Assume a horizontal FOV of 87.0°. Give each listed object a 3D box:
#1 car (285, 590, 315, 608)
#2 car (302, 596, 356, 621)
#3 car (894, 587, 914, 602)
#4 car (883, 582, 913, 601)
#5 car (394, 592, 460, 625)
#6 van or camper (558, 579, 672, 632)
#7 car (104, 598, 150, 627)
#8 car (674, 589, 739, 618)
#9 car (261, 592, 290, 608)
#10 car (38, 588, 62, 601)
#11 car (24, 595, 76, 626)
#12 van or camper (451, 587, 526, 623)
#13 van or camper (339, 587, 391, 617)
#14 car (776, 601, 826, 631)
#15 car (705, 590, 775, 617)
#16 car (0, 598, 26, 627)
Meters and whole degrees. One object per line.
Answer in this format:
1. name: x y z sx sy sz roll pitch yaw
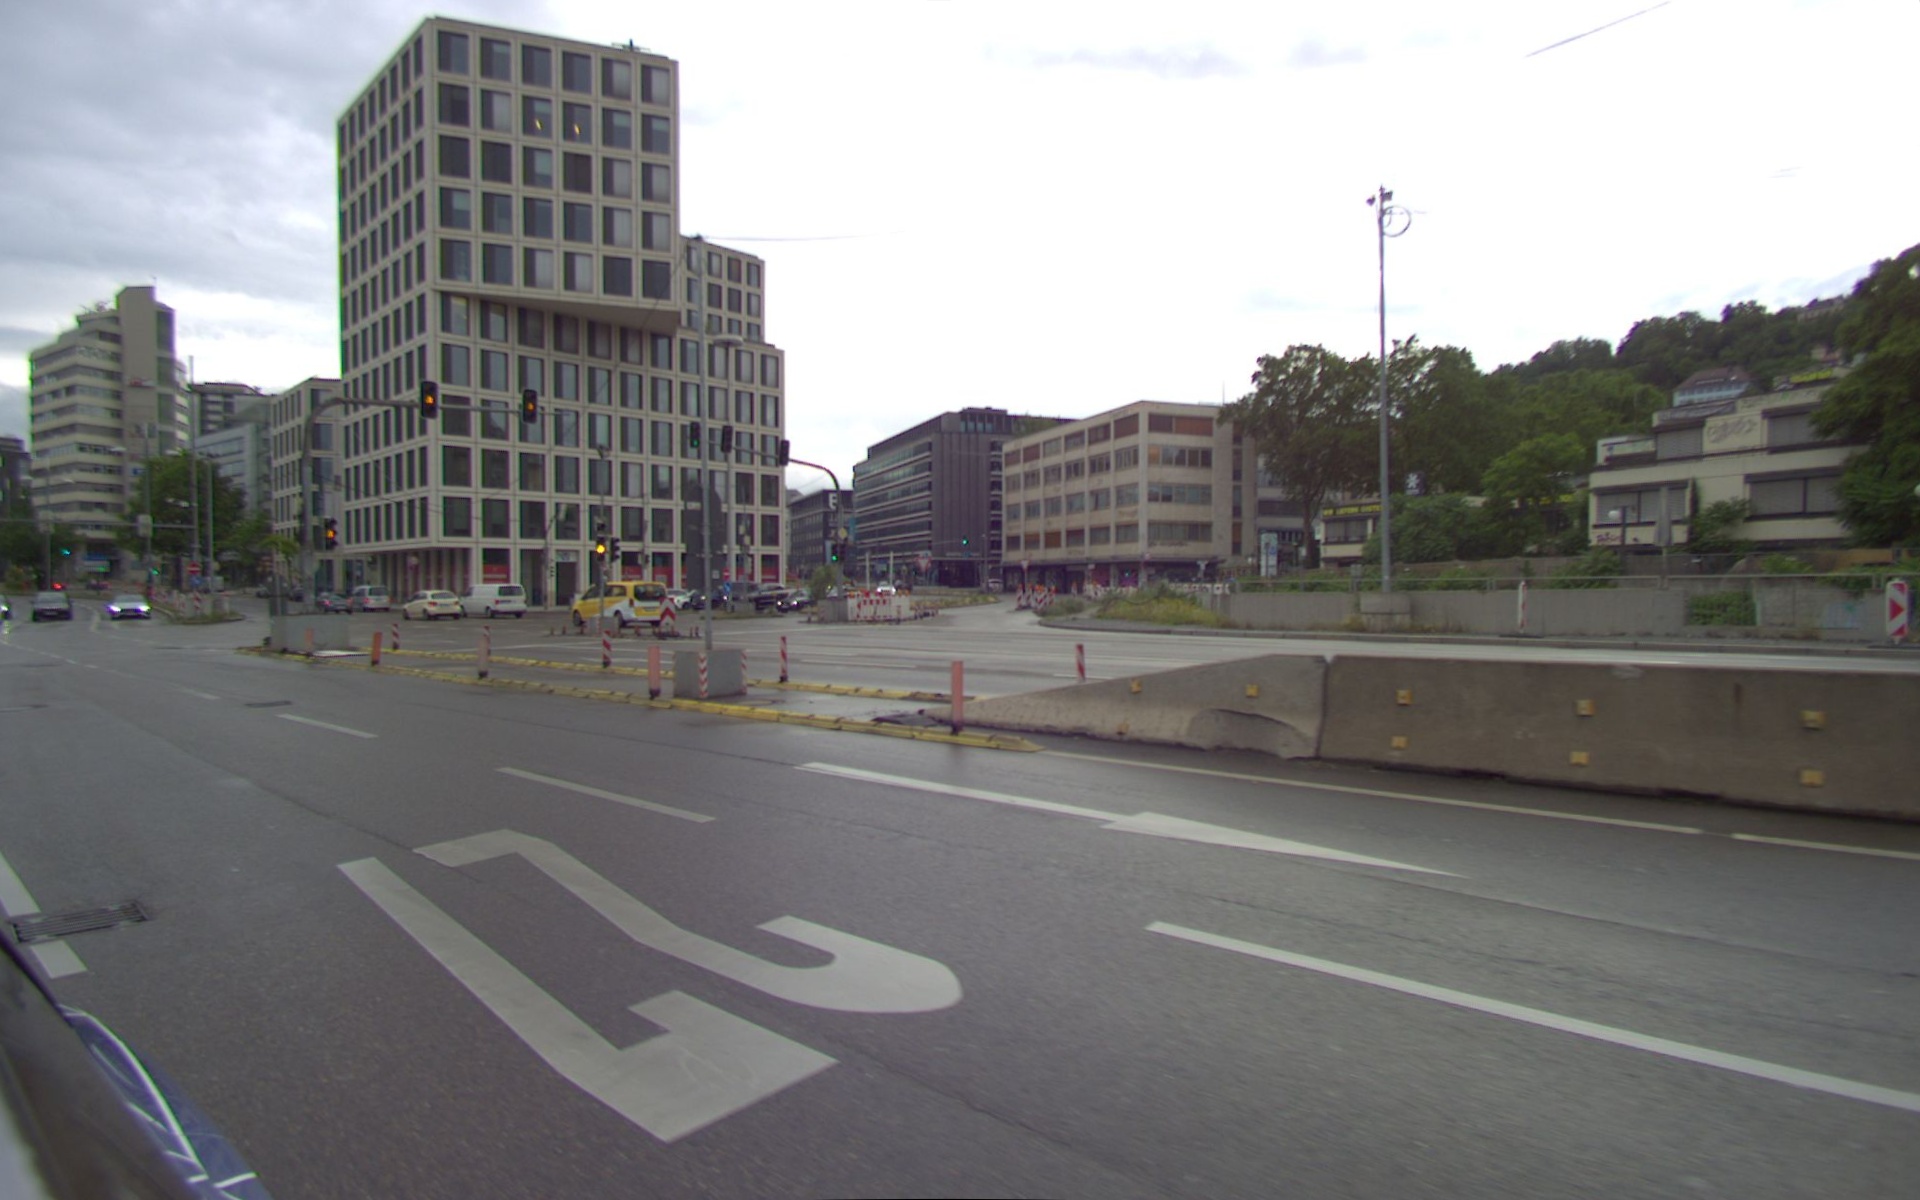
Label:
1. car: -60.755 -0.096 93.135 1.838 1.534 4.007 -1 0 -40
2. car: -41.814 0.554 66.985 4.178 1.610 1.827 0 1 40
3. car: -7.732 -0.797 140.041 1.966 2.029 4.011 -1 0 -14
4. car: -5.968 -0.831 98.598 1.839 1.729 4.114 -1 1 13
5. car: -29.290 0.454 55.565 4.380 1.686 1.822 0 1 42
6. van or camper: -14.671 0.207 42.897 5.609 2.070 2.215 0 1 44
7. car: -48.831 0.706 59.325 1.986 1.610 4.671 -2 1 -40
8. car: -17.539 0.205 70.037 3.940 1.829 1.808 -2 2 -43
9. car: -68.834 -0.022 101.753 1.838 1.534 4.005 -1 0 -41
10. car: -121.040 -0.731 134.643 4.178 1.610 1.827 0 1 40
11. car: -52.142 0.578 57.945 1.988 1.610 4.667 -2 1 -44
12. van or camper: -27.008 0.274 57.901 5.209 1.908 1.862 0 1 40
13. van or camper: -41.960 0.137 71.337 4.253 1.993 1.827 0 1 40
14. car: -9.406 0.933 60.199 1.679 1.710 3.985 -1 0 12
15. car: -13.083 0.218 60.446 1.831 1.497 3.956 -1 1 32
16. car: -57.145 0.736 60.313 1.988 1.610 4.667 -2 1 -44
